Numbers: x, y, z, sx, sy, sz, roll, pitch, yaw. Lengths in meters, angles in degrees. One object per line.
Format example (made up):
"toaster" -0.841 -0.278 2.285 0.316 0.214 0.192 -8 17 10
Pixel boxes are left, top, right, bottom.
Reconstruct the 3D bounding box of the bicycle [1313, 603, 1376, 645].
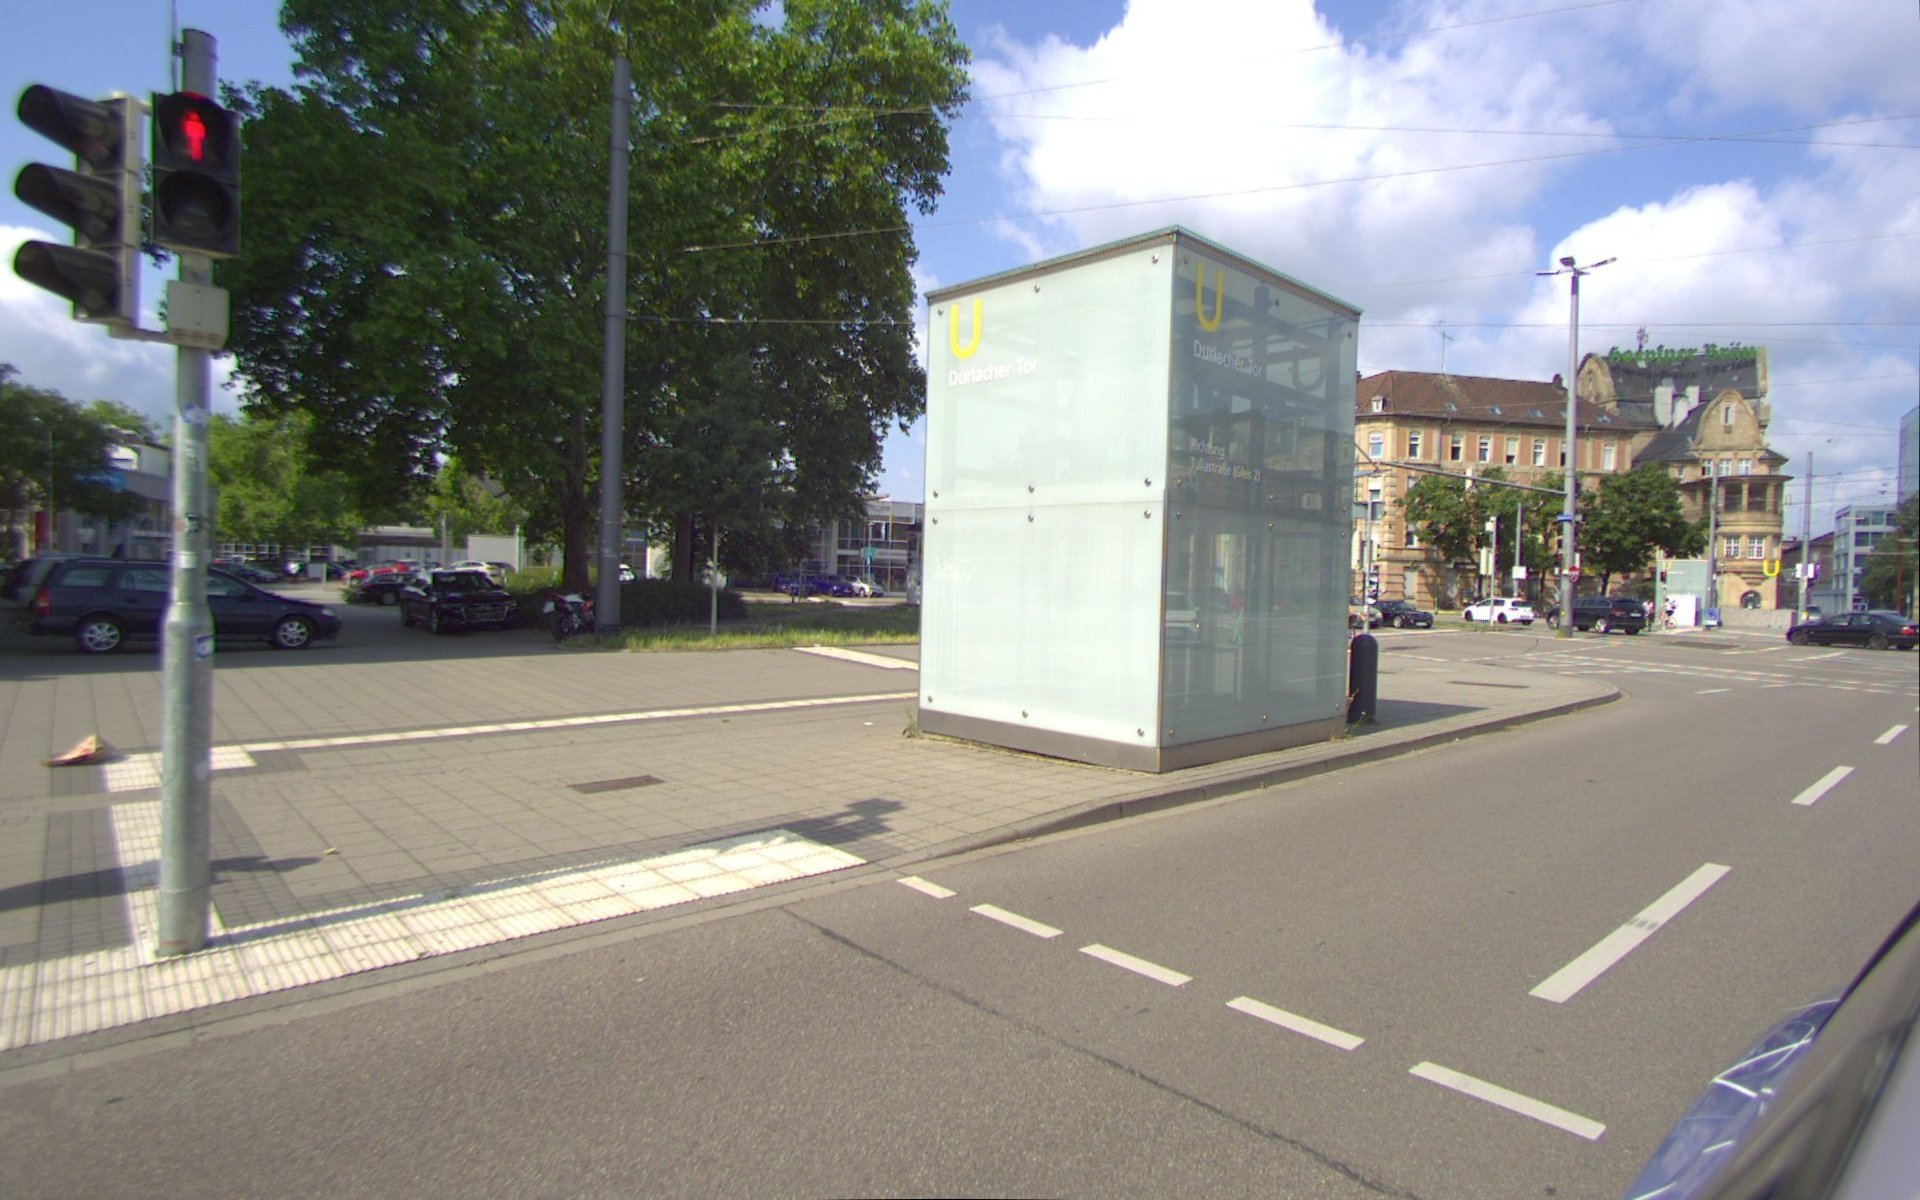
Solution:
"bicycle" 11.041 0.667 29.041 1.956 1.141 0.789 1 1 -39

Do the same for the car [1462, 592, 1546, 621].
"car" 30.298 0.335 56.500 1.649 1.464 4.241 -2 1 -14

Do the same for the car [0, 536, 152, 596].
"car" -29.639 -1.146 33.764 1.813 1.752 3.938 -1 4 45

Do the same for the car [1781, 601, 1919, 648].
"car" 34.523 0.893 38.652 1.959 1.415 4.519 -2 4 -23

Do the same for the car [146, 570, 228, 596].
"car" -51.108 -1.135 66.956 3.917 1.396 1.652 -4 3 -14

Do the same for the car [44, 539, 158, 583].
"car" -36.287 -1.664 42.868 3.557 1.613 1.664 -5 3 -39

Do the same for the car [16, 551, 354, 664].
"car" -12.972 0.045 17.113 4.321 1.604 1.995 -4 2 -44

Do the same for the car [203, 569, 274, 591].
"car" -54.367 -1.525 76.304 3.917 1.396 1.652 -4 3 -14

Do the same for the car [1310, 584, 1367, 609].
"car" 26.587 -0.270 71.179 1.736 1.547 4.264 1 1 -11

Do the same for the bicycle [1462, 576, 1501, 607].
"bicycle" 31.858 -0.568 61.915 0.989 1.746 2.471 -3 3 -1

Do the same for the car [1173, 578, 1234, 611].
"car" 13.547 -0.342 56.602 1.960 1.570 4.007 -4 3 -6

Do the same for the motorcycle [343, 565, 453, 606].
"motorcycle" -24.753 -0.630 44.630 3.930 1.682 1.997 0 2 -41

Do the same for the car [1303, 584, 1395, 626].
"car" 16.553 0.161 43.280 1.789 1.531 4.008 -4 3 -9

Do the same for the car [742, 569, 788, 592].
"car" -13.819 -1.392 71.560 1.887 1.462 4.005 1 2 -31

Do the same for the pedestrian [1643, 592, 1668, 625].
"pedestrian" 36.013 0.444 52.385 0.779 1.662 0.710 1 1 -18

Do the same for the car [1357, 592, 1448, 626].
"car" 18.922 0.346 43.486 1.593 1.175 4.008 -4 3 -9

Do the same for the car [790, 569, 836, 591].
"car" -10.595 -1.460 72.949 1.887 1.462 4.005 1 2 -31

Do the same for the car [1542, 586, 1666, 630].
"car" 29.446 0.332 46.456 1.958 1.688 4.696 -1 3 -14

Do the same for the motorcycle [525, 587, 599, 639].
"motorcycle" -8.048 0.247 20.545 0.594 0.913 1.894 -1 3 5

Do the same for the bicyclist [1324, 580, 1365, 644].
"bicyclist" 11.028 0.337 29.007 0.813 1.767 0.711 4 -1 -40

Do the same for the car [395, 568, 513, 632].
"car" -12.724 -0.044 25.347 1.765 1.437 3.996 0 2 -40

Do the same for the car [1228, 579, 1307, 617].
"car" 14.672 -0.138 48.476 1.959 1.537 4.008 -4 3 -9

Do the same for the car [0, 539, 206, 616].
"car" -20.181 -0.558 23.929 3.517 1.548 1.995 -6 4 -43

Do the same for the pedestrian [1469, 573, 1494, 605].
"pedestrian" 31.854 -0.659 61.831 0.976 1.863 0.997 -3 2 -2

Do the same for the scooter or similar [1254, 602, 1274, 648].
"scooter or similar" 8.119 0.656 27.055 0.375 1.172 0.927 1 2 9

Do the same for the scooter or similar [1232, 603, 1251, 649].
"scooter or similar" 7.542 0.688 27.095 0.377 1.172 0.923 1 2 20
